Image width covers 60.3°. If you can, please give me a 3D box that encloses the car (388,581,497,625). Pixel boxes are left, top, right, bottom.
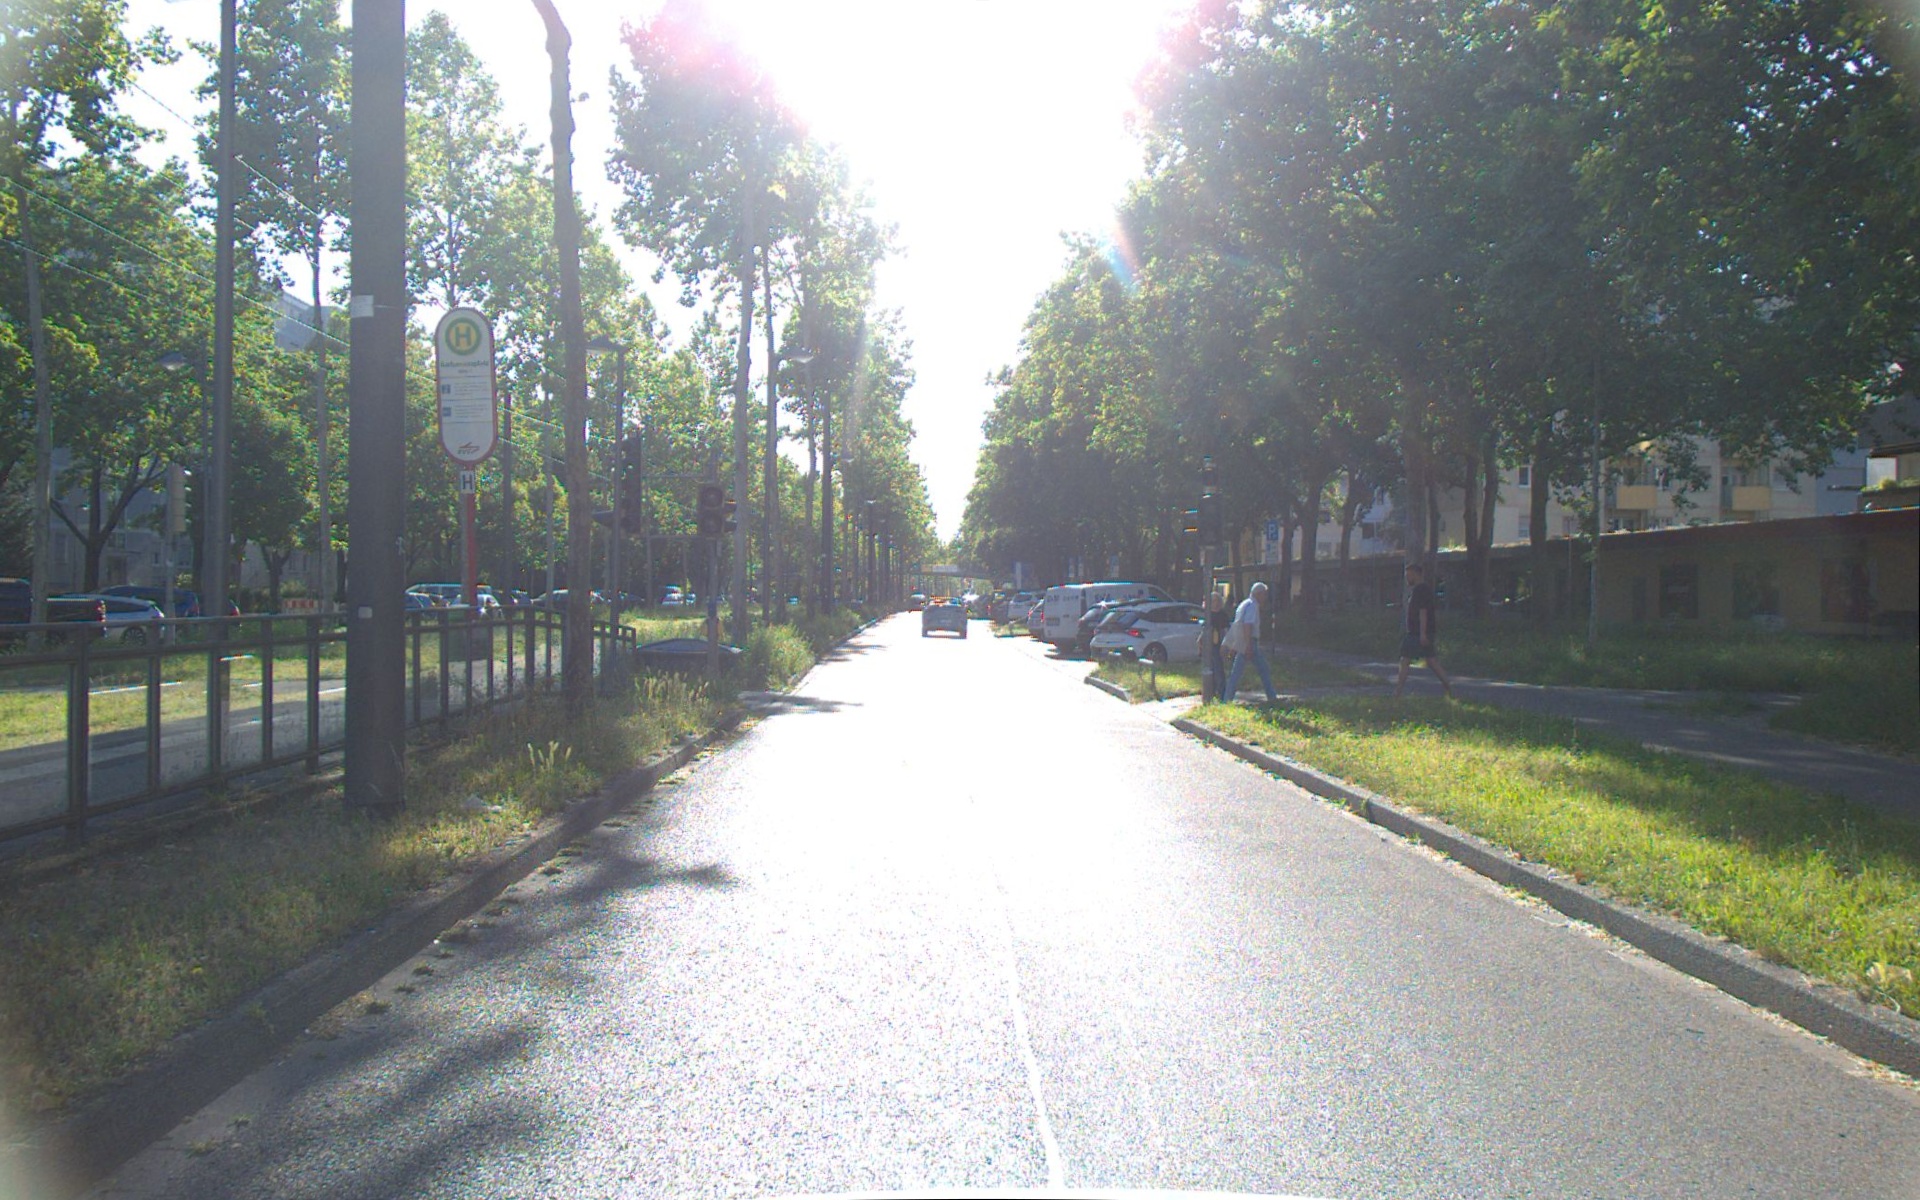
[{"bbox_3d":[-25.195,0.153,80.658,4.753,2.041,1.865,0,2,-40],"label":"car"}]

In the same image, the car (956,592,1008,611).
[{"bbox_3d":[1.857,0.138,138.120,1.826,1.449,4.298,-1,0,45],"label":"car"}]

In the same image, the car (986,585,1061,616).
[{"bbox_3d":[3.187,0.018,82.432,1.624,1.496,3.760,-1,0,45],"label":"car"}]

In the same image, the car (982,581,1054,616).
[{"bbox_3d":[3.290,-0.094,93.080,4.049,1.842,1.626,-1,0,-42],"label":"car"}]

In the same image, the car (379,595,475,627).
[{"bbox_3d":[-24.967,0.518,77.551,4.052,1.457,1.554,0,-1,-43],"label":"car"}]

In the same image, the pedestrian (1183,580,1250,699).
[{"bbox_3d":[3.844,0.585,24.769,0.704,1.736,0.646,-1,0,-36],"label":"pedestrian"}]

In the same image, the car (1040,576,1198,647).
[{"bbox_3d":[4.543,0.285,46.850,4.630,1.885,1.803,-1,0,-42],"label":"car"}]

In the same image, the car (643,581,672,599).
[{"bbox_3d":[-27.820,-0.924,152.202,1.834,1.478,3.574,3,0,0],"label":"car"}]

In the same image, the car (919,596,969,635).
[{"bbox_3d":[-0.658,0.577,64.595,1.883,1.436,3.999,1,0,-2],"label":"car"}]

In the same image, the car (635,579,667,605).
[{"bbox_3d":[-26.402,-0.653,141.479,1.612,2.129,4.915,3,0,1],"label":"car"}]

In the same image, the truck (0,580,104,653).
[{"bbox_3d":[-24.111,0.410,41.931,4.042,1.806,1.629,1,0,-38],"label":"truck"}]

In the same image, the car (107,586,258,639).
[{"bbox_3d":[-24.848,0.364,52.918,1.622,1.501,4.061,6,4,41],"label":"car"}]

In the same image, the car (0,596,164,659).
[{"bbox_3d":[-24.435,0.724,45.803,4.052,1.675,1.625,0,0,-43],"label":"car"}]

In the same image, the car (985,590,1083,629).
[{"bbox_3d":[2.855,0.357,63.349,1.561,1.397,3.910,-1,0,45],"label":"car"}]

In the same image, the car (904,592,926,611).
[{"bbox_3d":[-3.835,0.123,142.234,1.812,1.562,3.866,0,0,-1],"label":"car"}]

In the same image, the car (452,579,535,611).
[{"bbox_3d":[-25.371,-0.280,89.942,4.024,1.635,1.978,0,2,-27],"label":"car"}]

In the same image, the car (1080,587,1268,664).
[{"bbox_3d":[4.762,0.533,36.647,3.949,1.495,1.741,-3,1,-33],"label":"car"}]

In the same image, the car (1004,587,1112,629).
[{"bbox_3d":[3.673,0.282,61.448,1.692,1.437,4.155,-1,0,45],"label":"car"}]

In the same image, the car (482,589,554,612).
[{"bbox_3d":[-27.919,0.027,104.569,4.100,1.361,1.767,0,2,-44],"label":"car"}]

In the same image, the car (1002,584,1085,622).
[{"bbox_3d":[4.027,0.127,79.438,3.995,1.735,1.733,-1,0,-43],"label":"car"}]

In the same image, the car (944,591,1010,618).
[{"bbox_3d":[1.120,0.286,107.251,4.281,1.747,1.612,0,0,-41],"label":"car"}]

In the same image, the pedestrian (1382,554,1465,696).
[{"bbox_3d":[6.429,0.327,22.930,0.786,1.918,0.923,0,0,42],"label":"pedestrian"}]

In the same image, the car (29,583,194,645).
[{"bbox_3d":[-25.054,0.369,48.939,1.623,1.674,4.060,3,3,42],"label":"car"}]

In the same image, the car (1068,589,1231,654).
[{"bbox_3d":[4.920,0.538,42.806,3.949,1.454,1.779,-3,1,-33],"label":"car"}]

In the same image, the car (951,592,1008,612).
[{"bbox_3d":[1.531,0.148,127.962,1.826,1.469,4.462,-1,0,45],"label":"car"}]

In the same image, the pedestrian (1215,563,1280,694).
[{"bbox_3d":[3.927,0.378,22.530,0.824,1.752,0.831,0,0,14],"label":"pedestrian"}]

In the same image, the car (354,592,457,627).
[{"bbox_3d":[-24.525,0.401,73.258,4.052,1.509,1.625,0,0,-43],"label":"car"}]

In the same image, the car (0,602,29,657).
[{"bbox_3d":[-23.826,0.704,38.162,3.795,1.268,1.811,-1,1,-44],"label":"car"}]

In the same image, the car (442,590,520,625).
[{"bbox_3d":[-19.757,0.292,68.354,1.952,1.413,4.168,0,0,1],"label":"car"}]

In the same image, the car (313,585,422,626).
[{"bbox_3d":[-24.984,0.224,69.793,4.052,1.675,1.625,0,-1,-43],"label":"car"}]
